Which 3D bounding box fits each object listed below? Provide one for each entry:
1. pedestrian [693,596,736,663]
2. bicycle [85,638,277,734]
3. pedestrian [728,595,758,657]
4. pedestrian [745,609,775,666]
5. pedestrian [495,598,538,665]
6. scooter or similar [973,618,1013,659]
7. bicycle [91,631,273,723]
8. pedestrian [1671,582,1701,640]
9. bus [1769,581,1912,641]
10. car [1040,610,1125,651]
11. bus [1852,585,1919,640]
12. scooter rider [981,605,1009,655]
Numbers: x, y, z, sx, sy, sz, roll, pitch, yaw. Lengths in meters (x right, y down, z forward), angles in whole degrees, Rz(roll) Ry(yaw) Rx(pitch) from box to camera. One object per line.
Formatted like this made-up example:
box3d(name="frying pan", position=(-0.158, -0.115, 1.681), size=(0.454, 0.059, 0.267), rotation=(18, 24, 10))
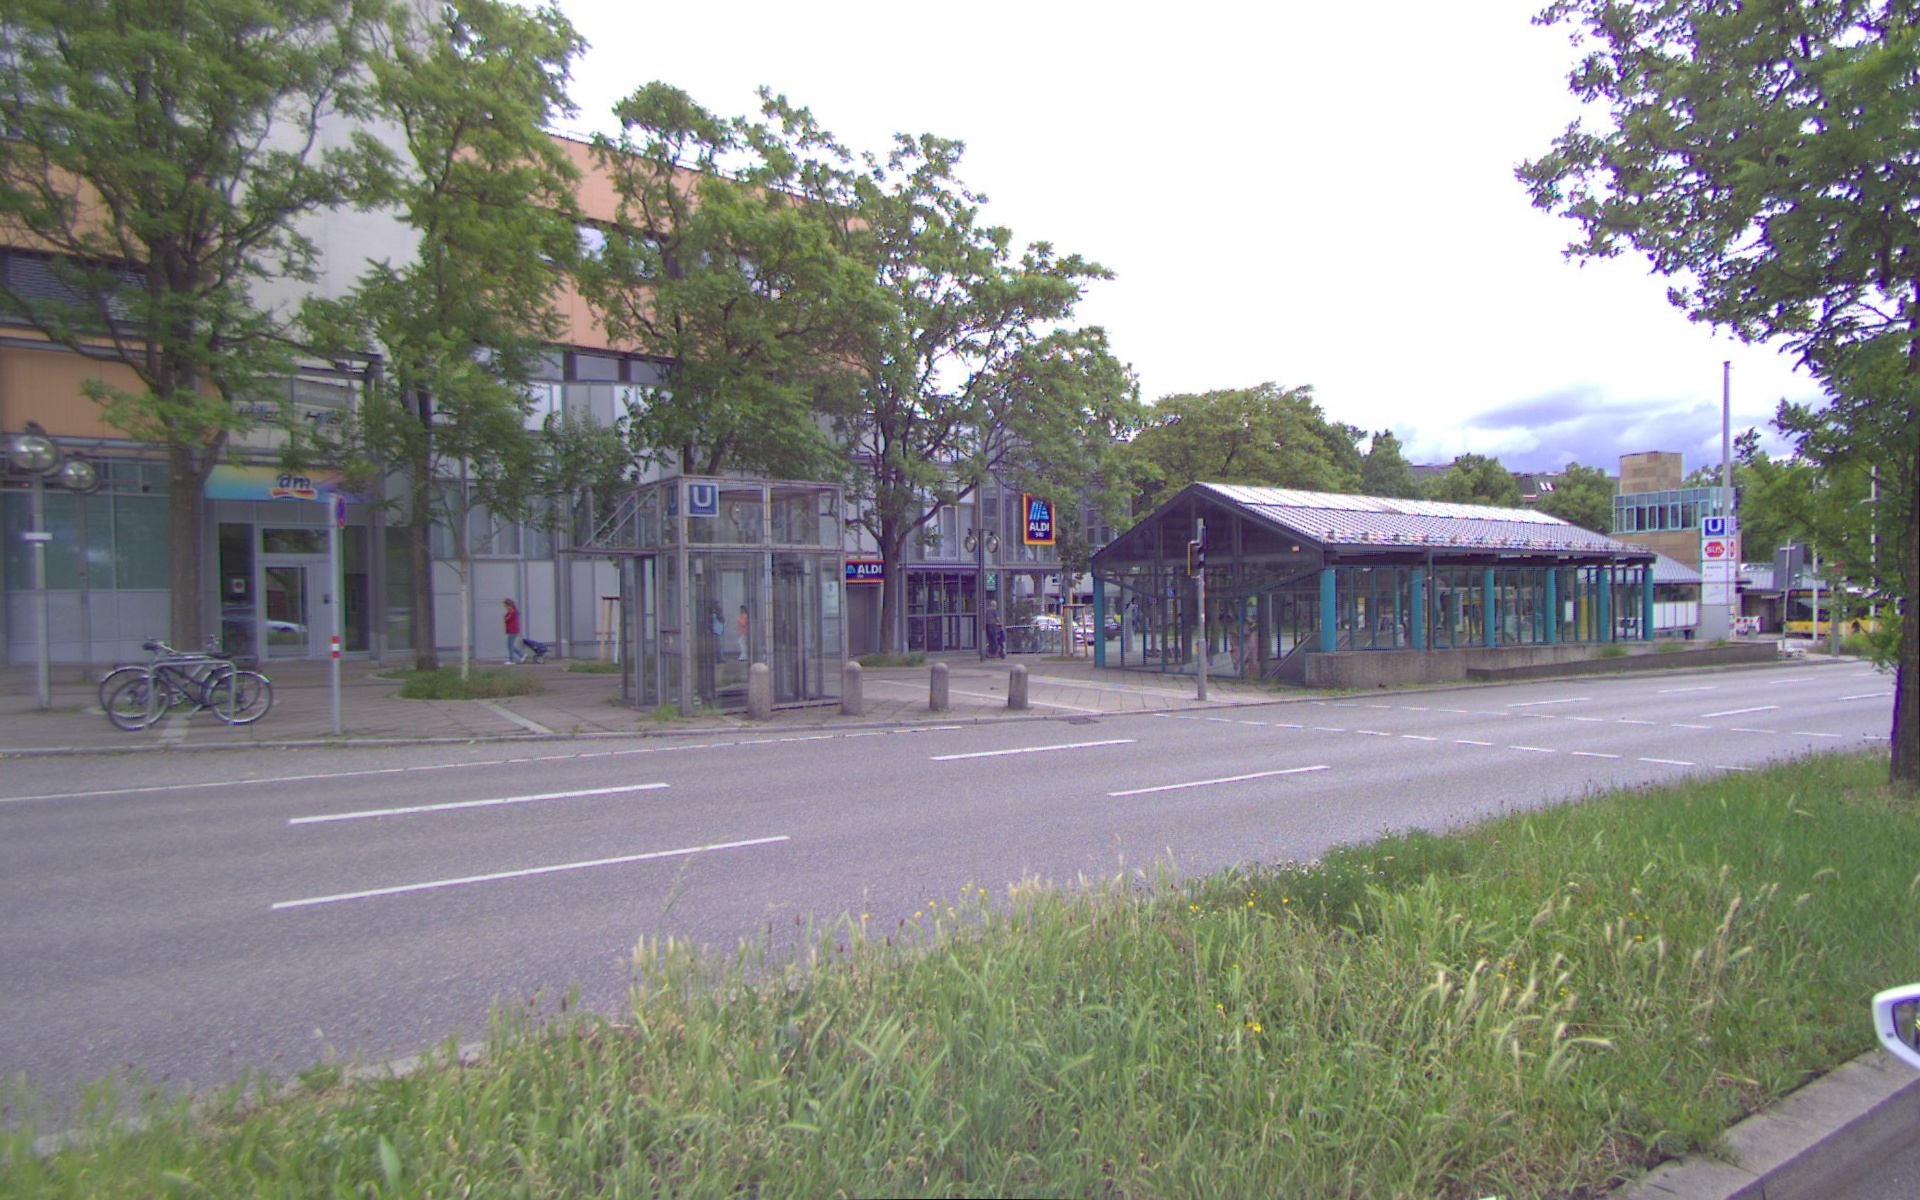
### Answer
box3d(name="pedestrian", position=(-6.569, 0.774, 26.871), size=(0.879, 1.739, 0.764), rotation=(0, 2, -39))
box3d(name="bicycle", position=(-10.135, 1.077, 13.113), size=(1.923, 1.098, 0.822), rotation=(0, 0, -44))
box3d(name="pedestrian", position=(-6.256, 0.738, 28.929), size=(0.674, 1.750, 0.560), rotation=(0, 0, -38))
box3d(name="pedestrian", position=(-5.706, 1.050, 28.615), size=(0.674, 1.610, 0.513), rotation=(0, 0, -39))
box3d(name="pedestrian", position=(-10.968, 0.775, 24.847), size=(0.819, 1.607, 0.629), rotation=(1, -1, -40))
box3d(name="scooter or similar", position=(1.077, 1.232, 32.443), size=(1.277, 1.284, 0.476), rotation=(0, 2, -39))
box3d(name="bicycle", position=(-10.804, 1.028, 13.991), size=(0.706, 1.152, 1.944), rotation=(0, 0, 45))
box3d(name="pedestrian", position=(25.895, 0.385, 35.828), size=(0.639, 2.040, 0.677), rotation=(1, -1, -34))
box3d(name="bus", position=(54.426, 0.720, 62.022), size=(10.591, 3.476, 2.822), rotation=(1, -1, -26))
box3d(name="car", position=(5.813, 1.408, 48.090), size=(1.980, 1.862, 3.962), rotation=(1, -1, -34))
box3d(name="bus", position=(63.414, 0.851, 66.477), size=(10.591, 3.476, 2.822), rotation=(1, -1, -26))
box3d(name="scooter rider", position=(1.139, 0.969, 32.486), size=(0.701, 1.566, 0.521), rotation=(0, 2, -39))
